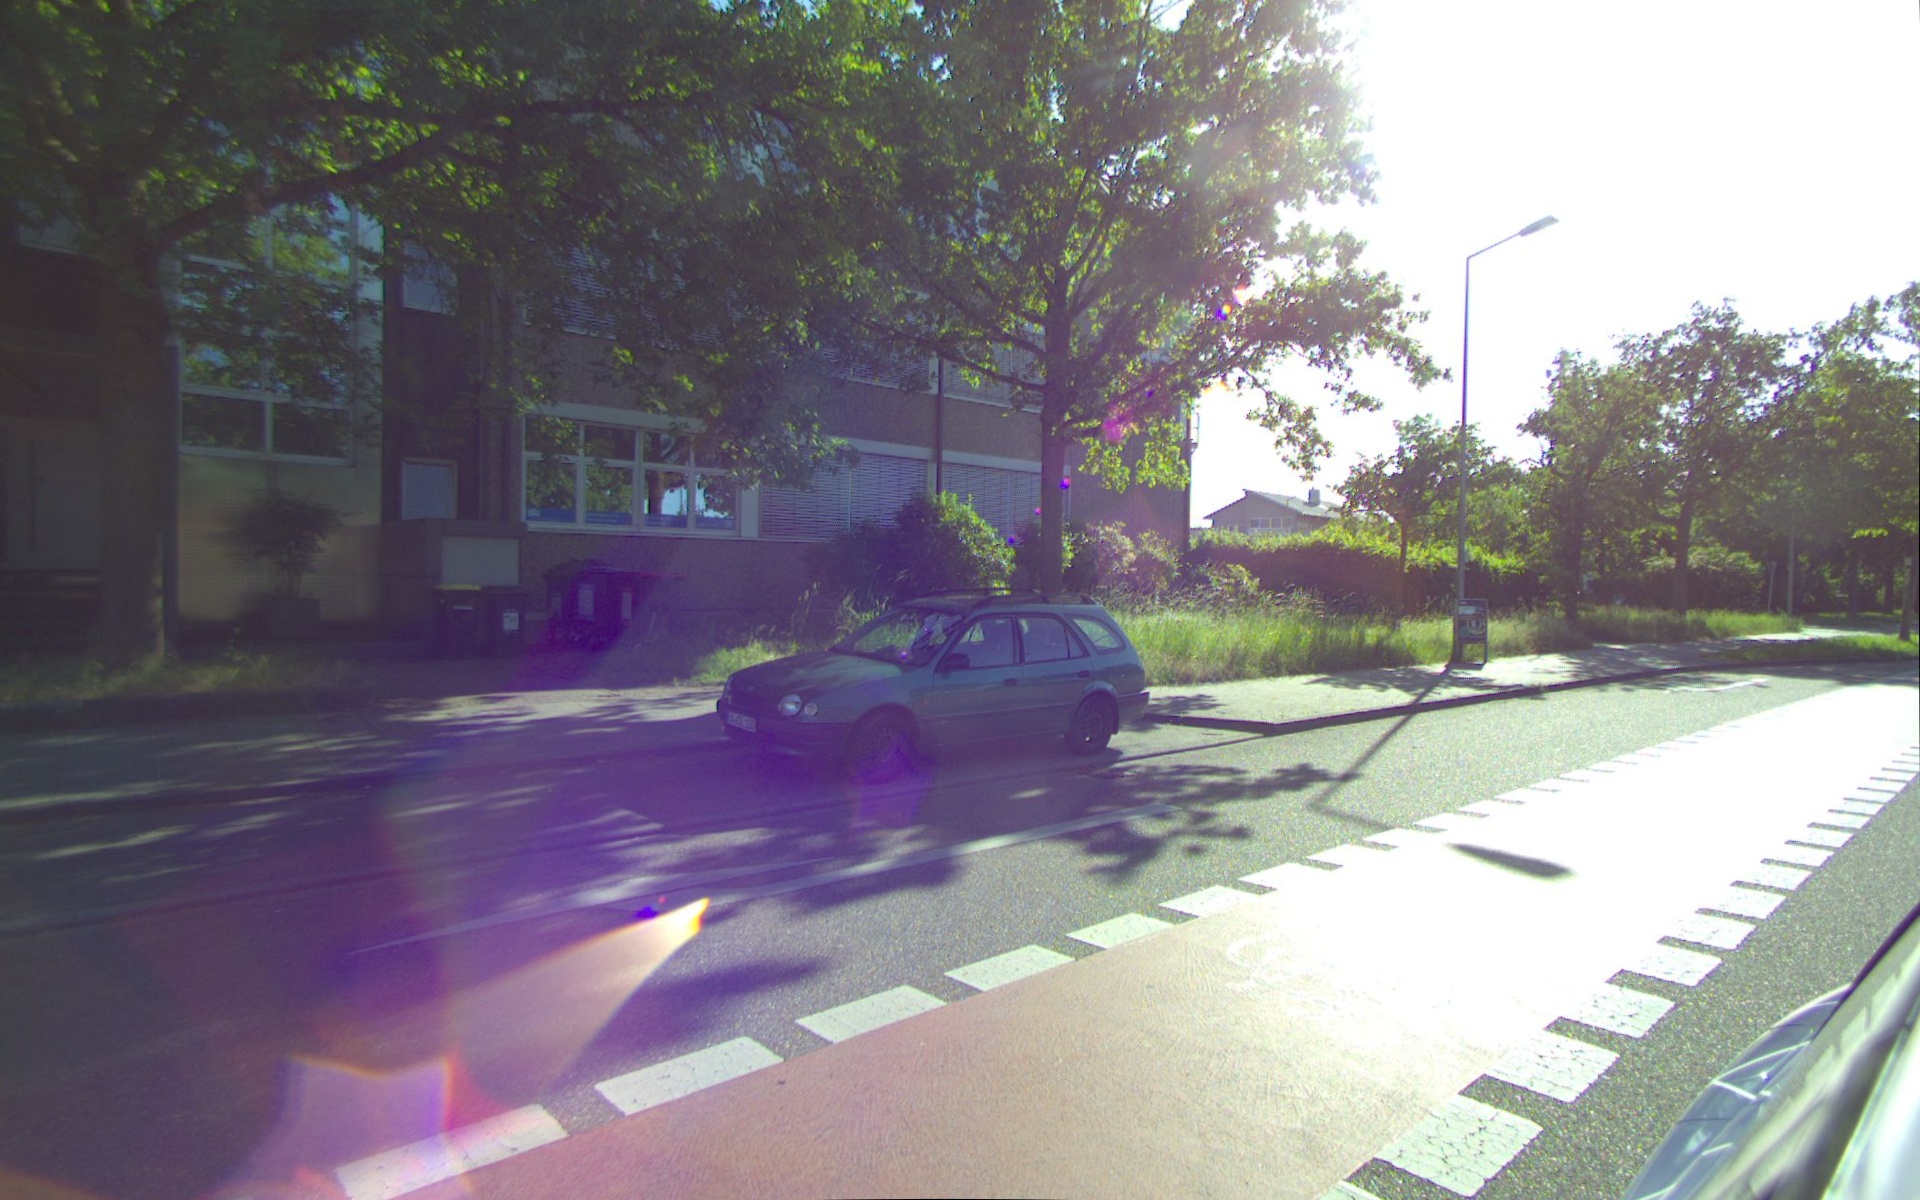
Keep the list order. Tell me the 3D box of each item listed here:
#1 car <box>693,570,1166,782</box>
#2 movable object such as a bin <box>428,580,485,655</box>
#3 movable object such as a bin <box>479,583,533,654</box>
[{"bbox_3d":[-0.113,0.499,9.090,4.129,1.446,1.596,-1,3,-40],"label":"car"},{"bbox_3d":[-7.235,0.238,14.532,0.571,1.045,0.713,0,1,-41],"label":"movable object such as a bin"},{"bbox_3d":[-6.736,0.260,15.023,0.566,1.020,0.629,-1,1,-41],"label":"movable object such as a bin"}]
